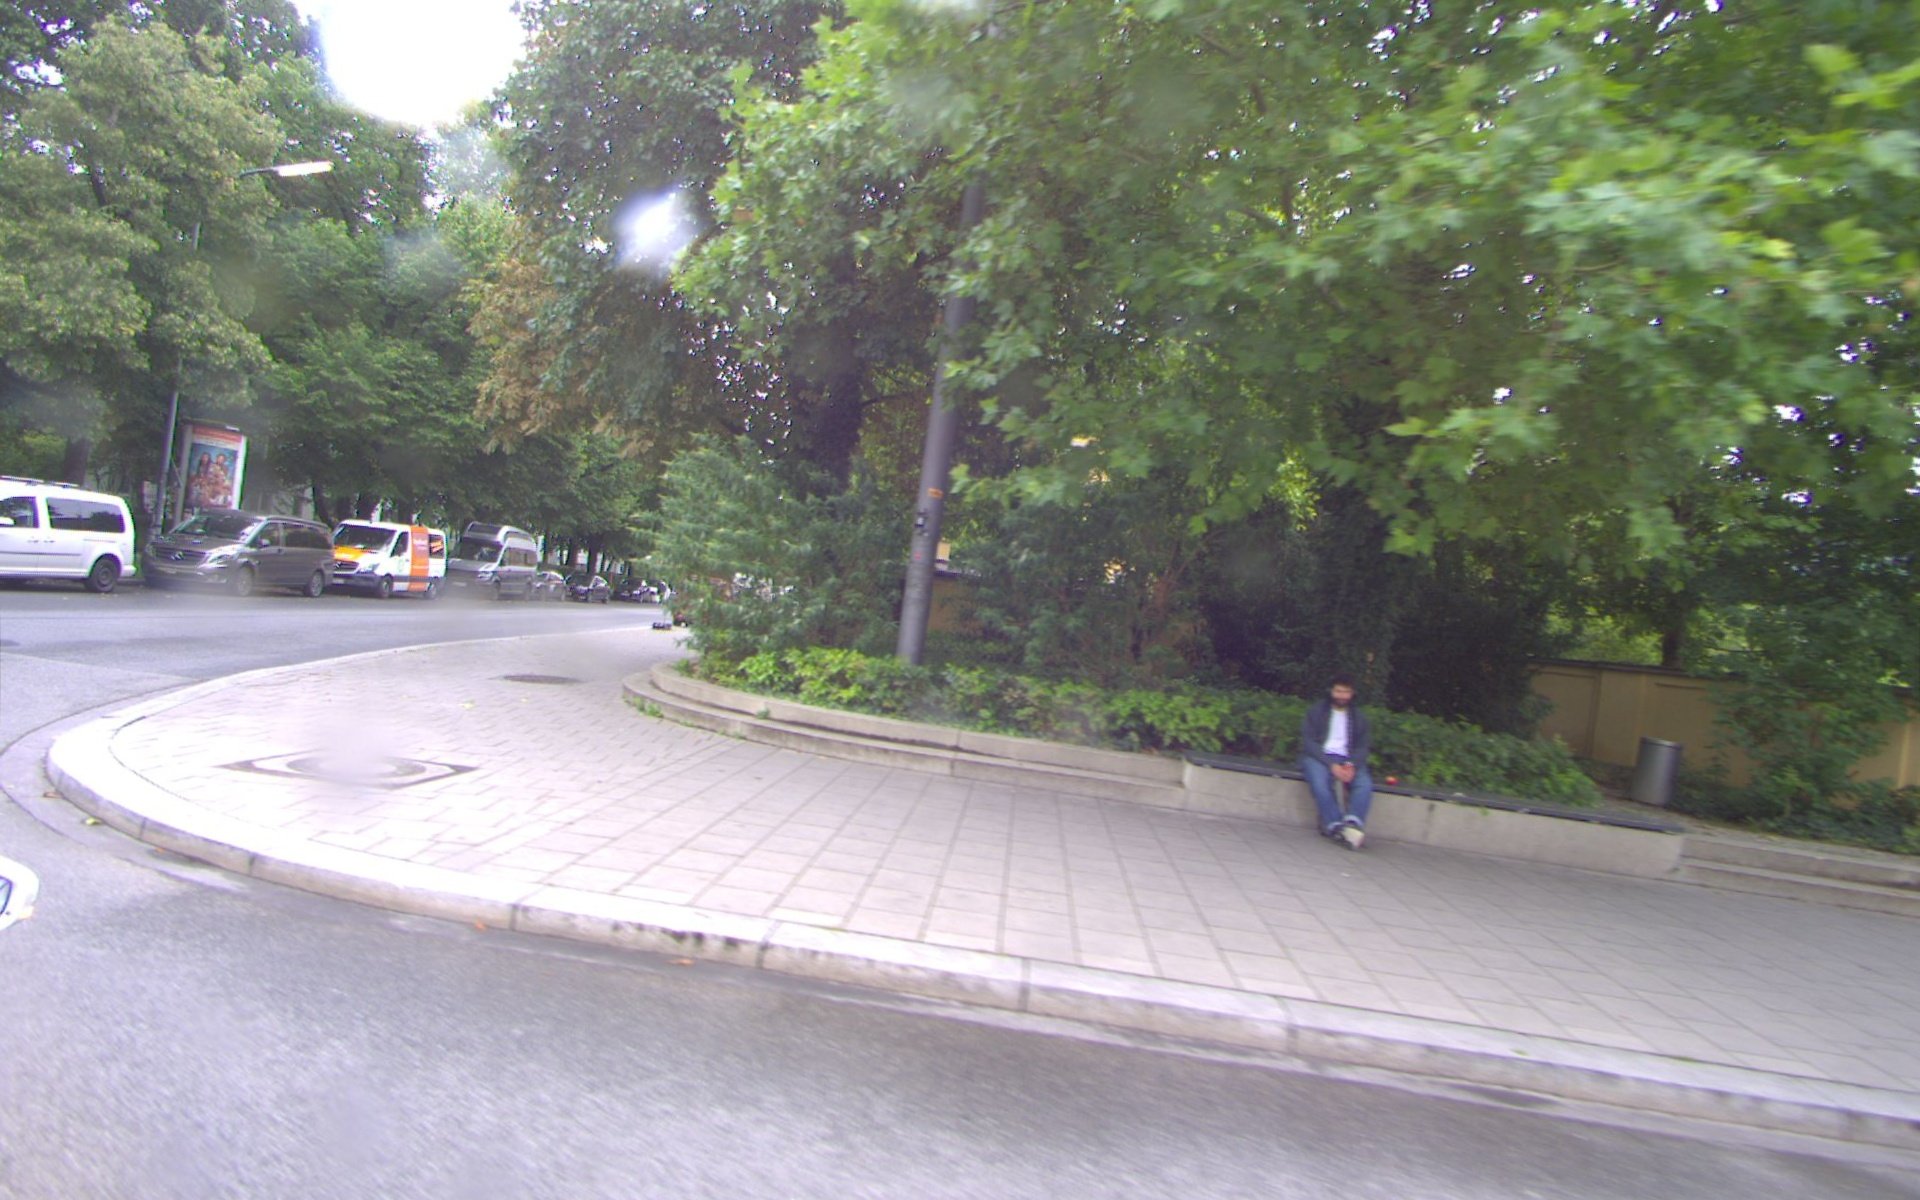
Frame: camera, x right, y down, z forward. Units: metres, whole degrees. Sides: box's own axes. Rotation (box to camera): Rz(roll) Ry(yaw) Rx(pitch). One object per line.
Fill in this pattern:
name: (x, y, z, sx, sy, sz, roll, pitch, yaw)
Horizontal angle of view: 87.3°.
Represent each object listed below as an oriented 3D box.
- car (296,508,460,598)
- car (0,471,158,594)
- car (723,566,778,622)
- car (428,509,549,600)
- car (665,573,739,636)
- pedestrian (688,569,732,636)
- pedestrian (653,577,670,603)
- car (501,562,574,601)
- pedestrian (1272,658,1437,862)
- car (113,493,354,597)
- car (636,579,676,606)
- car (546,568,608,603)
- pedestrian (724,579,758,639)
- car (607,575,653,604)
car: (-17.819, -1.328, 31.202, 2.053, 2.292, 5.599, 6, -1, -5)
car: (-16.550, -1.236, 17.050, 2.053, 1.926, 4.856, 7, -1, -4)
car: (-11.108, -0.263, 53.800, 1.965, 2.589, 5.426, 7, -1, -5)
car: (-18.582, -1.669, 40.071, 2.142, 3.038, 6.228, 7, -1, -6)
car: (-9.631, 0.166, 37.956, 1.885, 1.960, 4.964, 8, -1, -7)
pedestrian: (-7.482, 0.074, 30.047, 0.814, 1.858, 0.944, 7, 0, -32)
pedestrian: (-19.852, -0.684, 66.897, 0.872, 1.617, 0.821, 8, 0, -13)
car: (-19.108, -0.810, 45.659, 1.966, 1.437, 3.995, 8, -1, -8)
pedestrian: (3.094, 1.214, 8.015, 0.757, 1.373, 1.132, 7, 0, 4)
car: (-16.959, -1.159, 23.973, 1.997, 1.931, 5.661, 6, -1, -7)
car: (-21.375, -0.506, 70.881, 1.966, 1.639, 4.124, 8, -1, -8)
car: (-19.428, -0.716, 51.203, 1.966, 1.437, 4.124, 8, -1, -8)
pedestrian: (-6.501, 0.270, 29.832, 0.628, 1.687, 0.692, 7, 0, -27)
car: (-21.142, -0.636, 64.648, 1.966, 1.504, 4.124, 8, -1, -8)
